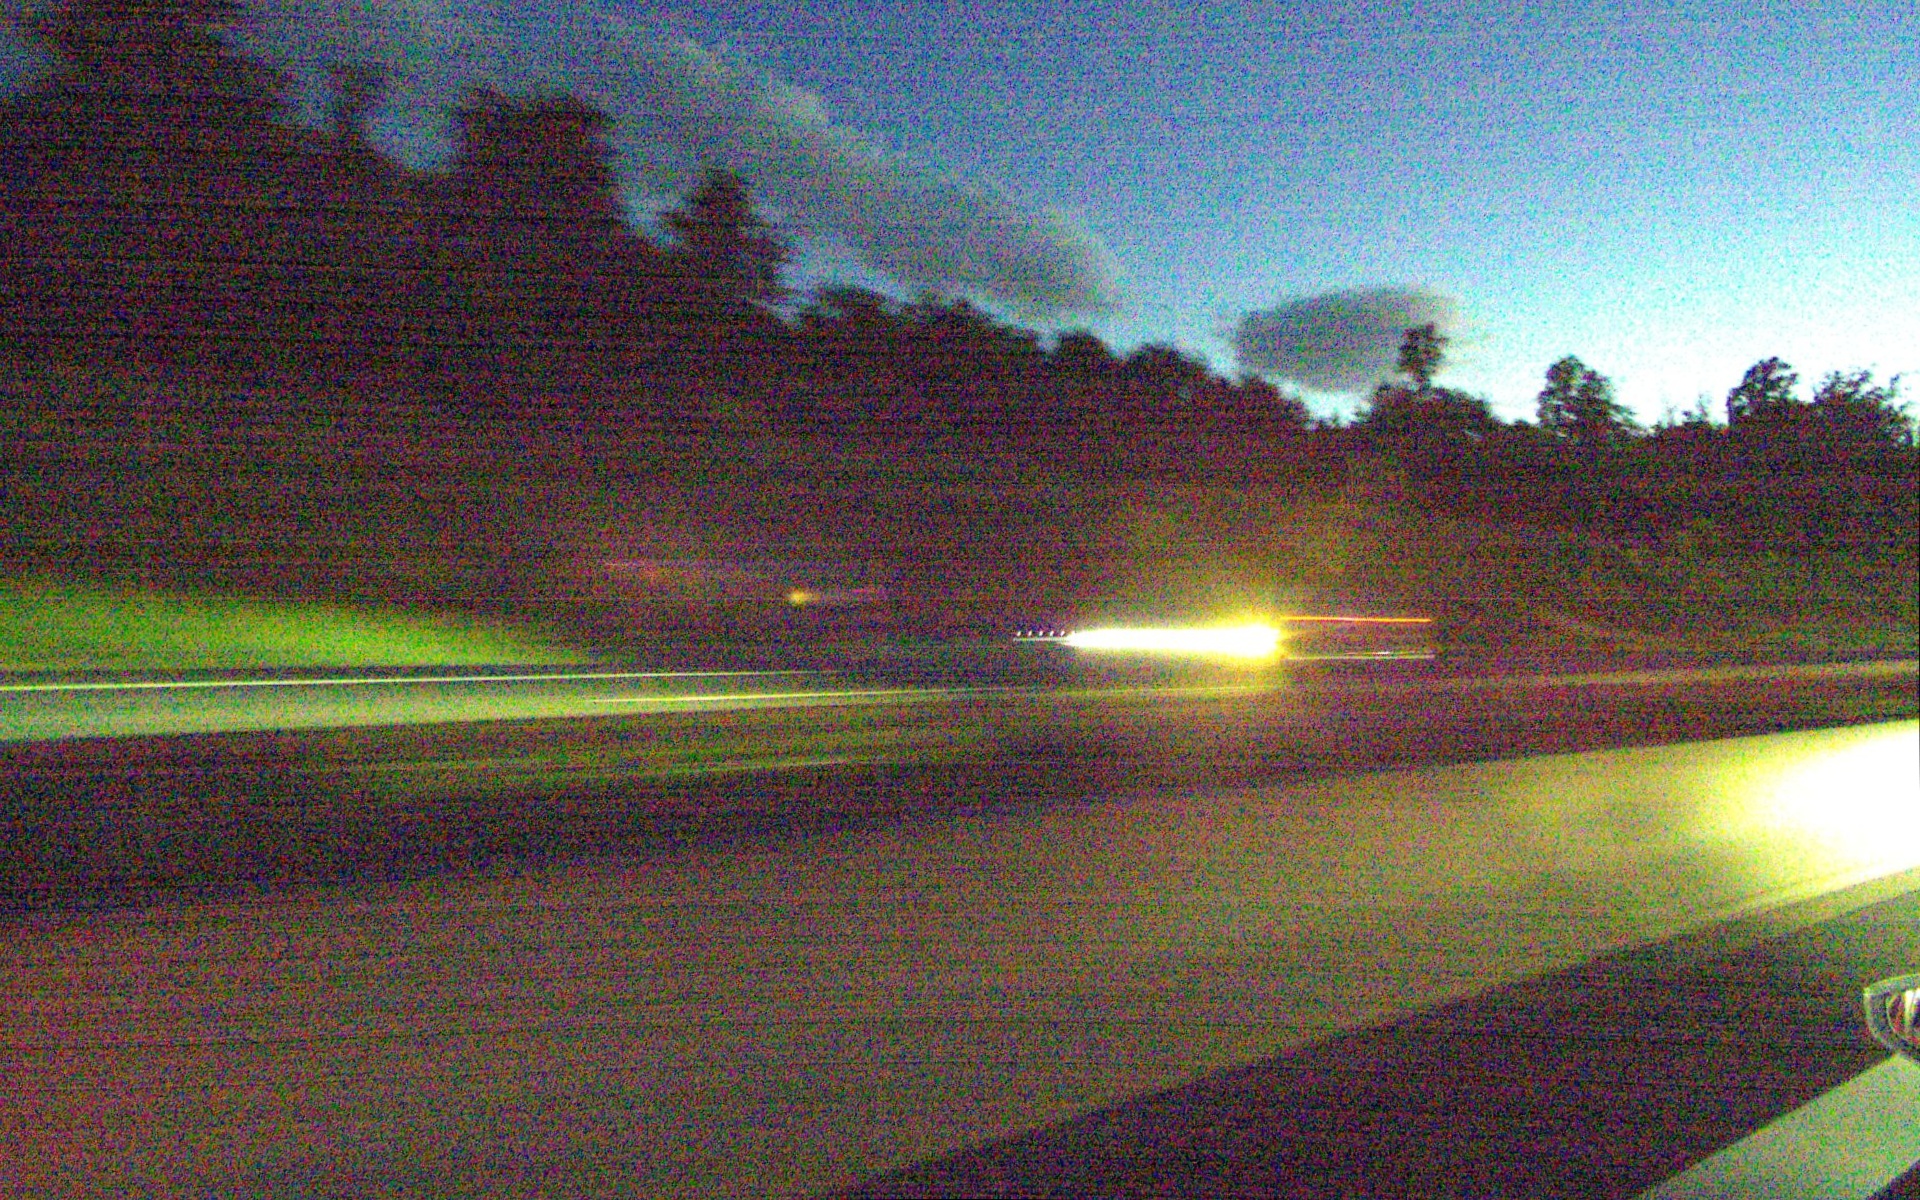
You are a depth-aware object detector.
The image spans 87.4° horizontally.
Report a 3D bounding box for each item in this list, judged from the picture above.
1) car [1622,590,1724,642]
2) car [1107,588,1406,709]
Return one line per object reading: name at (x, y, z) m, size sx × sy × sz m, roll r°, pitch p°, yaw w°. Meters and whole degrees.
car at (28.786, 0.686, 40.538) m, size 3.955 × 1.951 × 1.983 m, roll 2°, pitch -3°, yaw -31°
car at (4.587, 0.674, 15.374) m, size 4.403 × 1.582 × 1.923 m, roll 1°, pitch 1°, yaw -31°
